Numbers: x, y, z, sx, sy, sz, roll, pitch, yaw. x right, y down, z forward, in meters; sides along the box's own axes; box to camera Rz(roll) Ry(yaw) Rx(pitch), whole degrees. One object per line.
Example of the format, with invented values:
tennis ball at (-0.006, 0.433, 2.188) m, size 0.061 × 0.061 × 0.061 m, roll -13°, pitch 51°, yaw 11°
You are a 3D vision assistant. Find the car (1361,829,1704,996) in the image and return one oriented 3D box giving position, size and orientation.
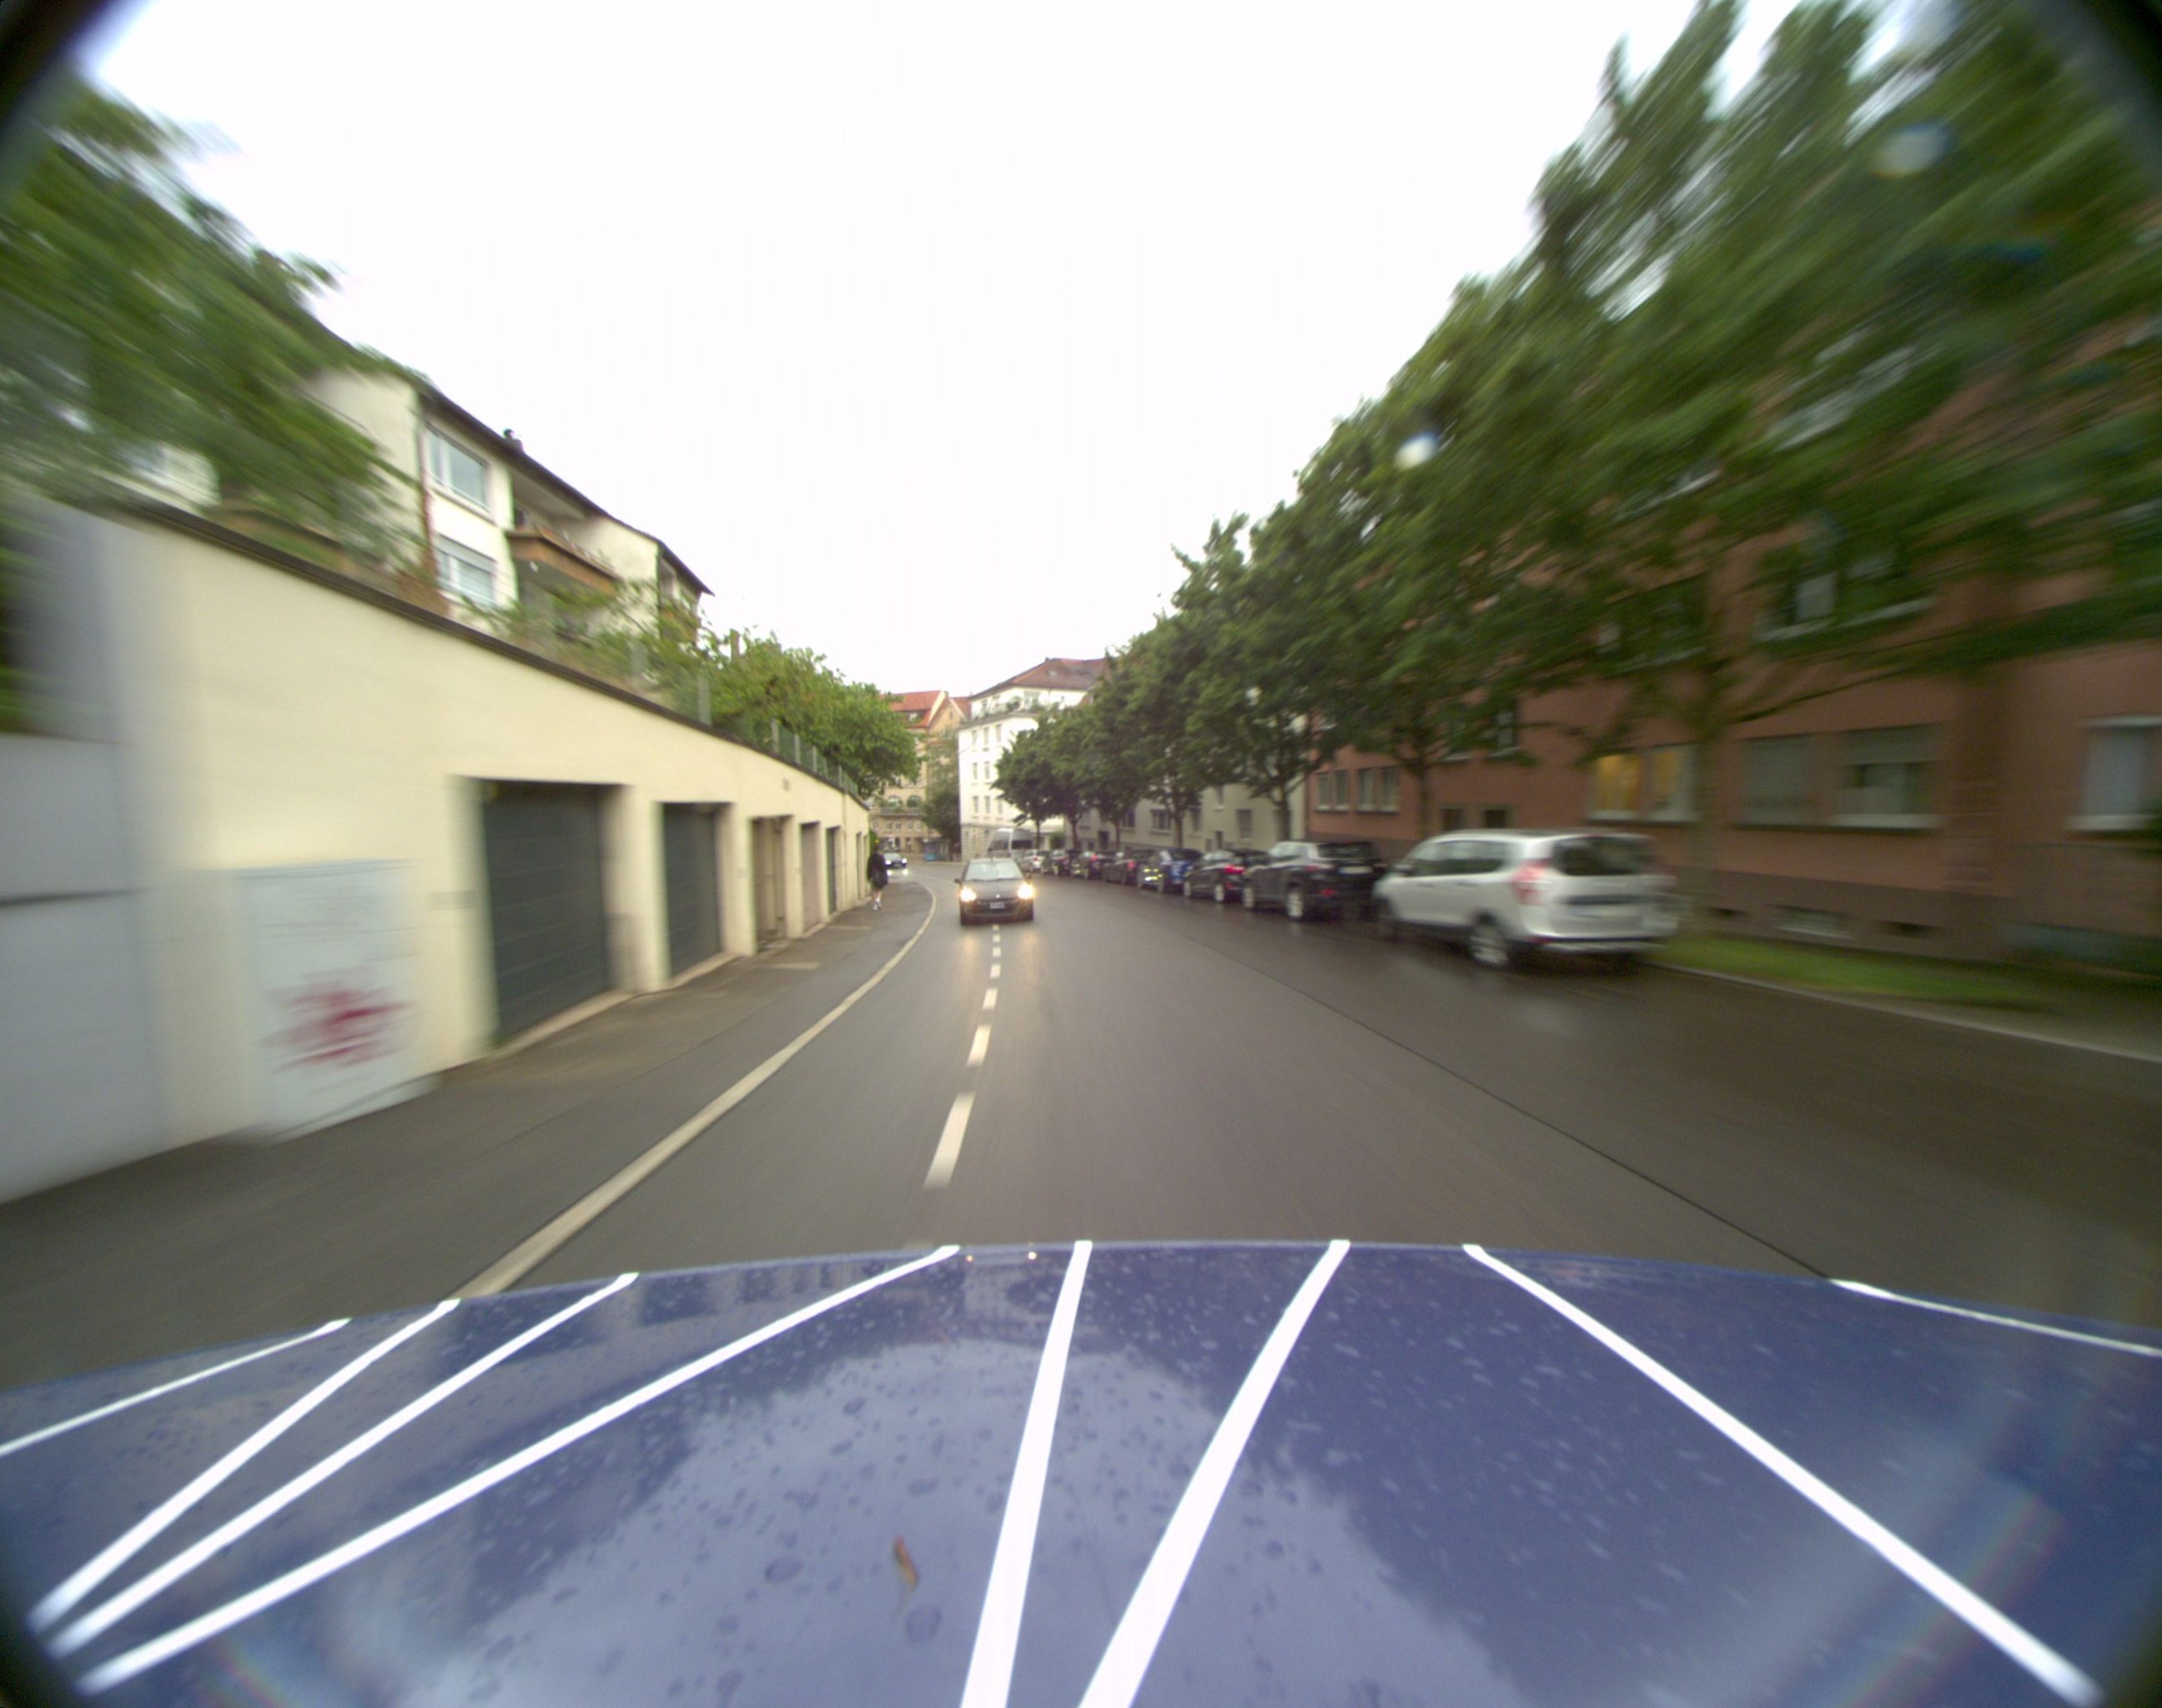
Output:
car at (5.562, 0.571, 10.217) m, size 1.751 × 1.680 × 4.598 m, roll -2°, pitch 1°, yaw -2°

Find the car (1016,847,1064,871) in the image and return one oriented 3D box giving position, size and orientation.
car at (-2.656, 0.273, 48.207) m, size 1.593 × 1.402 × 4.038 m, roll -2°, pitch 1°, yaw -25°

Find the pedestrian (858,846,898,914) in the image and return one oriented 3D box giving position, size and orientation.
pedestrian at (-5.703, 0.713, 21.377) m, size 0.902 × 1.840 × 0.802 m, roll -2°, pitch 2°, yaw -7°

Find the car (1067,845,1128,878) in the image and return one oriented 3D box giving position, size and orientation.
car at (0.735, 0.315, 37.777) m, size 1.793 × 1.485 × 4.638 m, roll -3°, pitch 1°, yaw -14°

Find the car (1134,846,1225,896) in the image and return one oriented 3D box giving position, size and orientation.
car at (3.295, 0.507, 26.365) m, size 1.793 × 1.485 × 4.857 m, roll -2°, pitch 1°, yaw -9°

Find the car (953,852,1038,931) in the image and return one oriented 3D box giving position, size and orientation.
car at (-2.060, 0.814, 18.574) m, size 1.699 × 1.456 × 3.996 m, roll -5°, pitch 3°, yaw -6°

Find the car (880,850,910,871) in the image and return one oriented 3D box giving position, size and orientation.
car at (-16.753, 0.577, 68.332) m, size 1.899 × 1.686 × 3.992 m, roll -5°, pitch 3°, yaw -22°

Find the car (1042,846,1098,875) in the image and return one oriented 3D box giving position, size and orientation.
car at (-0.695, 0.333, 42.526) m, size 1.794 × 1.484 × 4.490 m, roll -1°, pitch 1°, yaw -19°

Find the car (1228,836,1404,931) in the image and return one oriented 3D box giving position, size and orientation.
car at (4.770, 0.508, 16.191) m, size 1.793 × 1.632 × 4.476 m, roll -4°, pitch 1°, yaw -7°

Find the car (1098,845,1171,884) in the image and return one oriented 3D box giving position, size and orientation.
car at (2.189, 0.390, 32.352) m, size 1.794 × 1.485 × 4.355 m, roll -2°, pitch 1°, yaw -14°

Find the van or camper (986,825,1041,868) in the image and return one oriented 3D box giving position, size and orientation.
van or camper at (-4.828, -0.521, 53.676) m, size 2.076 × 2.843 × 5.736 m, roll -1°, pitch 1°, yaw -24°

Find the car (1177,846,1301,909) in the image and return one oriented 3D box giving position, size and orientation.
car at (4.230, 0.561, 21.152) m, size 1.793 × 1.485 × 4.356 m, roll -2°, pitch 1°, yaw -11°
